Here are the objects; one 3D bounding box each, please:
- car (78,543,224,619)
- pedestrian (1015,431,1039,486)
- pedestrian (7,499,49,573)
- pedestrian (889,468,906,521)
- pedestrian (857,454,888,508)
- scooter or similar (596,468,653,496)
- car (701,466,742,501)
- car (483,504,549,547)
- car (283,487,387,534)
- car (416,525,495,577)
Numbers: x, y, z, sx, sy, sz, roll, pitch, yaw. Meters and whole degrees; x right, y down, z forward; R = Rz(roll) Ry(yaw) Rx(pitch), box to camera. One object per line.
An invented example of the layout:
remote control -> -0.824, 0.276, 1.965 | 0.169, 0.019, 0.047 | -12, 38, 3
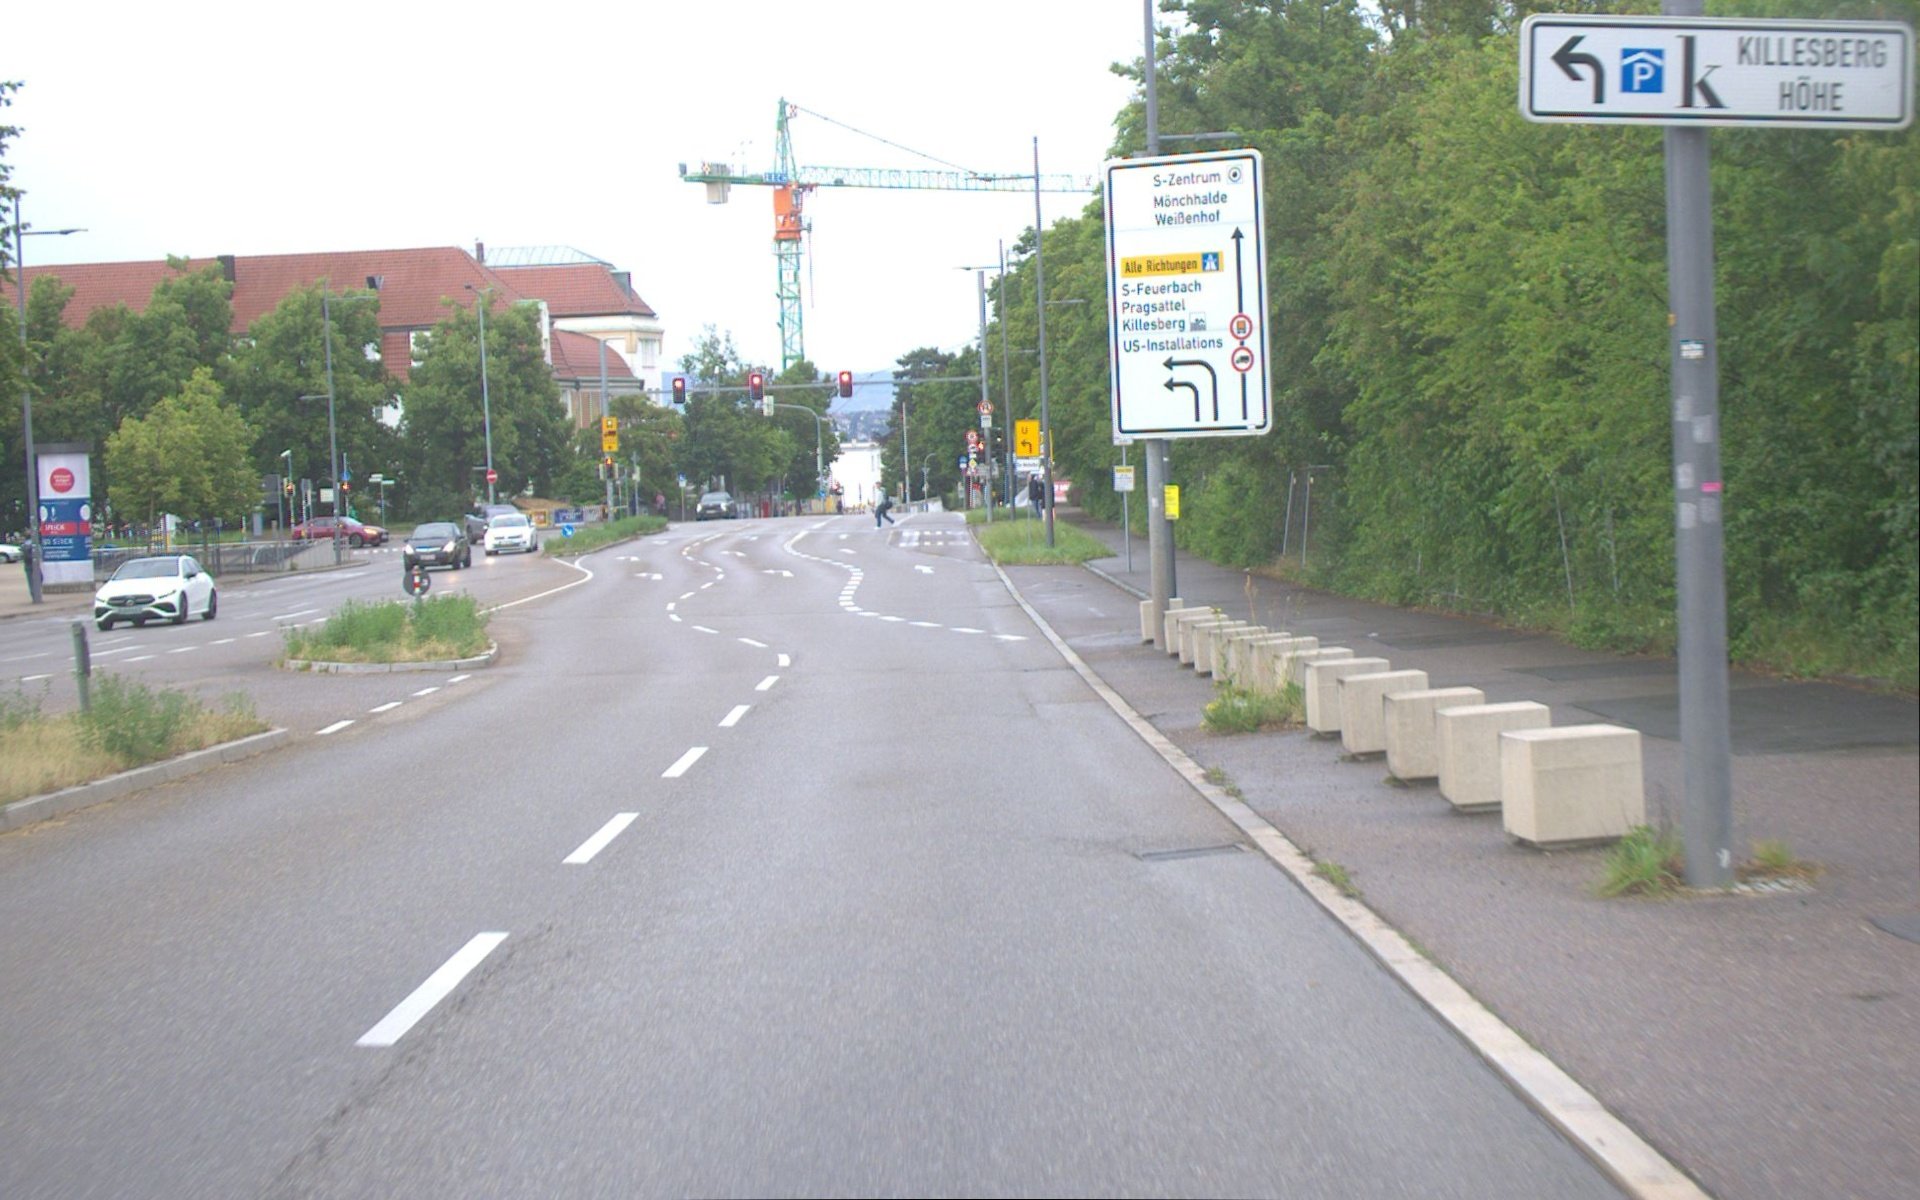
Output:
car -> -17.034, -0.429, 72.590 | 1.993, 1.413, 4.513 | -2, 2, 0
pedestrian -> 2.364, -4.991, 121.525 | 0.640, 1.894, 0.718 | -3, 3, -6
pedestrian -> -23.611, -1.626, 87.071 | 0.753, 1.836, 0.746 | -2, 2, 2
pedestrian -> -2.447, -4.123, 134.490 | 0.401, 2.006, 0.513 | -5, 2, 6
pedestrian -> -3.403, -4.658, 134.420 | 0.940, 2.006, 0.847 | -5, 2, 5
scooter or similar -> -18.965, -6.664, 194.426 | 3.087, 1.435, 0.949 | -3, 3, -2
car -> -13.291, -6.485, 191.769 | 1.993, 1.831, 4.000 | -1, 1, 0
car -> -16.596, -2.807, 128.670 | 1.873, 1.425, 4.176 | -5, 2, 0
car -> -27.614, -3.955, 151.865 | 3.991, 1.910, 1.998 | -2, 2, 22
car -> -15.792, -1.557, 107.821 | 1.846, 1.457, 3.868 | -4, 2, 0
